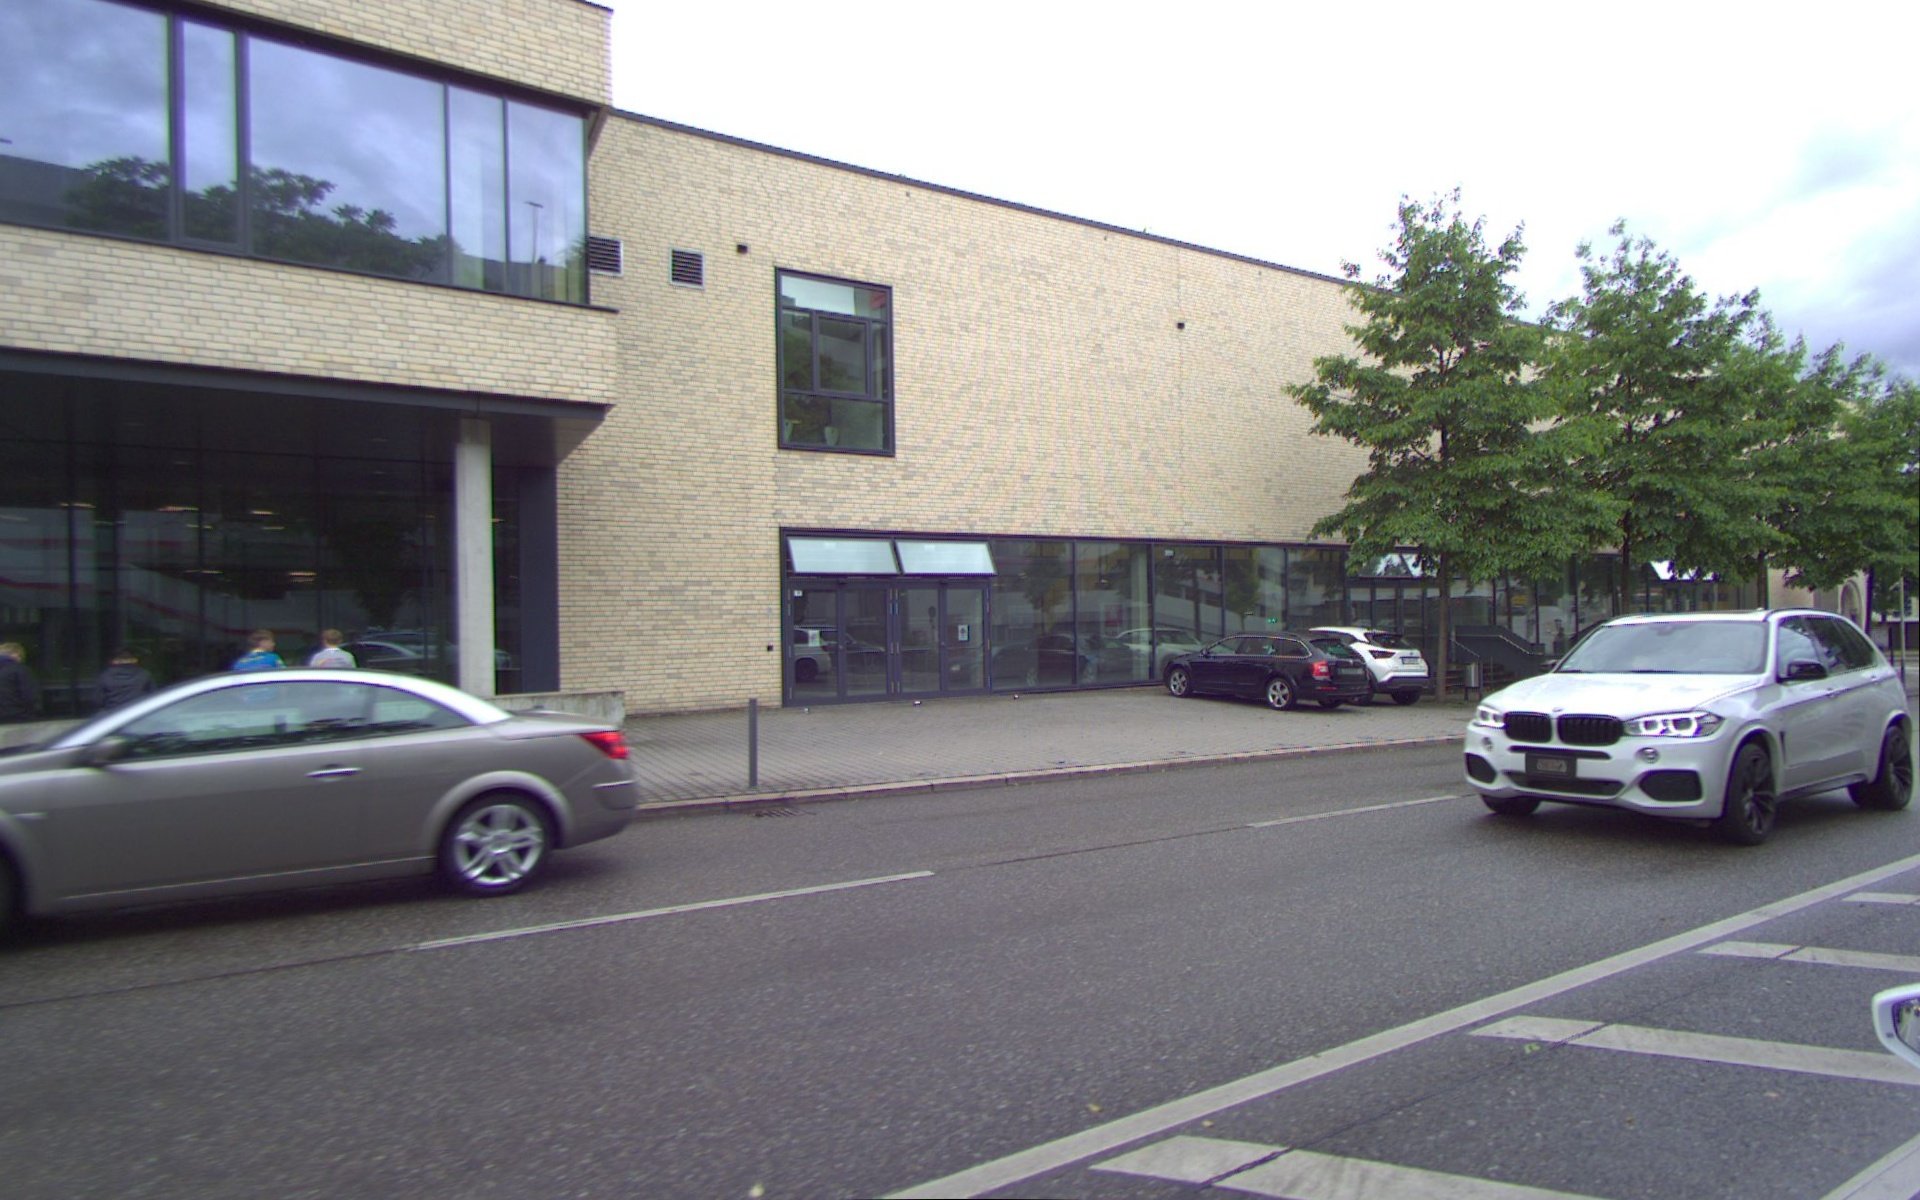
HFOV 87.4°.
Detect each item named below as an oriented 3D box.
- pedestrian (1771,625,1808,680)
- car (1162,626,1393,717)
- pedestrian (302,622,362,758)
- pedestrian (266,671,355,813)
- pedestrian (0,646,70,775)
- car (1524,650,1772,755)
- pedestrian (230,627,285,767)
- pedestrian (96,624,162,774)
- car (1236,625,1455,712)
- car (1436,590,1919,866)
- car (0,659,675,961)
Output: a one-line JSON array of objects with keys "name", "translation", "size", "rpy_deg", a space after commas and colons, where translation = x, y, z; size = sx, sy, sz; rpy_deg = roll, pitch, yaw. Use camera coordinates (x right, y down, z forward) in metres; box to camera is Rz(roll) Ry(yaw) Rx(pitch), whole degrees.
[{"name": "pedestrian", "translation": [26.645, 1.677, 32.262], "size": [1.009, 1.688, 0.638], "rpy_deg": [2, 0, -36]}, {"name": "car", "translation": [6.373, 1.379, 20.580], "size": [1.981, 1.514, 4.147], "rpy_deg": [2, 0, -36]}, {"name": "pedestrian", "translation": [-7.187, 1.014, 11.496], "size": [0.523, 1.495, 0.438], "rpy_deg": [2, 0, -35]}, {"name": "pedestrian", "translation": [-8.493, 1.831, 13.152], "size": [0.690, 1.737, 0.637], "rpy_deg": [2, 0, 9]}, {"name": "pedestrian", "translation": [-9.339, 1.090, 10.107], "size": [0.416, 1.231, 0.546], "rpy_deg": [2, 0, -27]}, {"name": "car", "translation": [10.732, 1.507, 15.611], "size": [3.927, 1.430, 1.736], "rpy_deg": [2, -4, -32]}, {"name": "pedestrian", "translation": [-7.794, 1.059, 11.153], "size": [0.459, 1.495, 0.446], "rpy_deg": [2, 0, -35]}, {"name": "pedestrian", "translation": [-8.621, 1.006, 10.433], "size": [0.459, 1.495, 0.446], "rpy_deg": [2, 0, -35]}, {"name": "car", "translation": [8.251, 1.406, 21.887], "size": [1.975, 1.568, 4.159], "rpy_deg": [2, 0, -28]}, {"name": "car", "translation": [6.373, 0.955, 8.721], "size": [4.524, 1.835, 1.881], "rpy_deg": [2, -4, -32]}, {"name": "car", "translation": [-4.089, 1.091, 6.177], "size": [4.183, 1.406, 1.820], "rpy_deg": [2, -4, -32]}]
